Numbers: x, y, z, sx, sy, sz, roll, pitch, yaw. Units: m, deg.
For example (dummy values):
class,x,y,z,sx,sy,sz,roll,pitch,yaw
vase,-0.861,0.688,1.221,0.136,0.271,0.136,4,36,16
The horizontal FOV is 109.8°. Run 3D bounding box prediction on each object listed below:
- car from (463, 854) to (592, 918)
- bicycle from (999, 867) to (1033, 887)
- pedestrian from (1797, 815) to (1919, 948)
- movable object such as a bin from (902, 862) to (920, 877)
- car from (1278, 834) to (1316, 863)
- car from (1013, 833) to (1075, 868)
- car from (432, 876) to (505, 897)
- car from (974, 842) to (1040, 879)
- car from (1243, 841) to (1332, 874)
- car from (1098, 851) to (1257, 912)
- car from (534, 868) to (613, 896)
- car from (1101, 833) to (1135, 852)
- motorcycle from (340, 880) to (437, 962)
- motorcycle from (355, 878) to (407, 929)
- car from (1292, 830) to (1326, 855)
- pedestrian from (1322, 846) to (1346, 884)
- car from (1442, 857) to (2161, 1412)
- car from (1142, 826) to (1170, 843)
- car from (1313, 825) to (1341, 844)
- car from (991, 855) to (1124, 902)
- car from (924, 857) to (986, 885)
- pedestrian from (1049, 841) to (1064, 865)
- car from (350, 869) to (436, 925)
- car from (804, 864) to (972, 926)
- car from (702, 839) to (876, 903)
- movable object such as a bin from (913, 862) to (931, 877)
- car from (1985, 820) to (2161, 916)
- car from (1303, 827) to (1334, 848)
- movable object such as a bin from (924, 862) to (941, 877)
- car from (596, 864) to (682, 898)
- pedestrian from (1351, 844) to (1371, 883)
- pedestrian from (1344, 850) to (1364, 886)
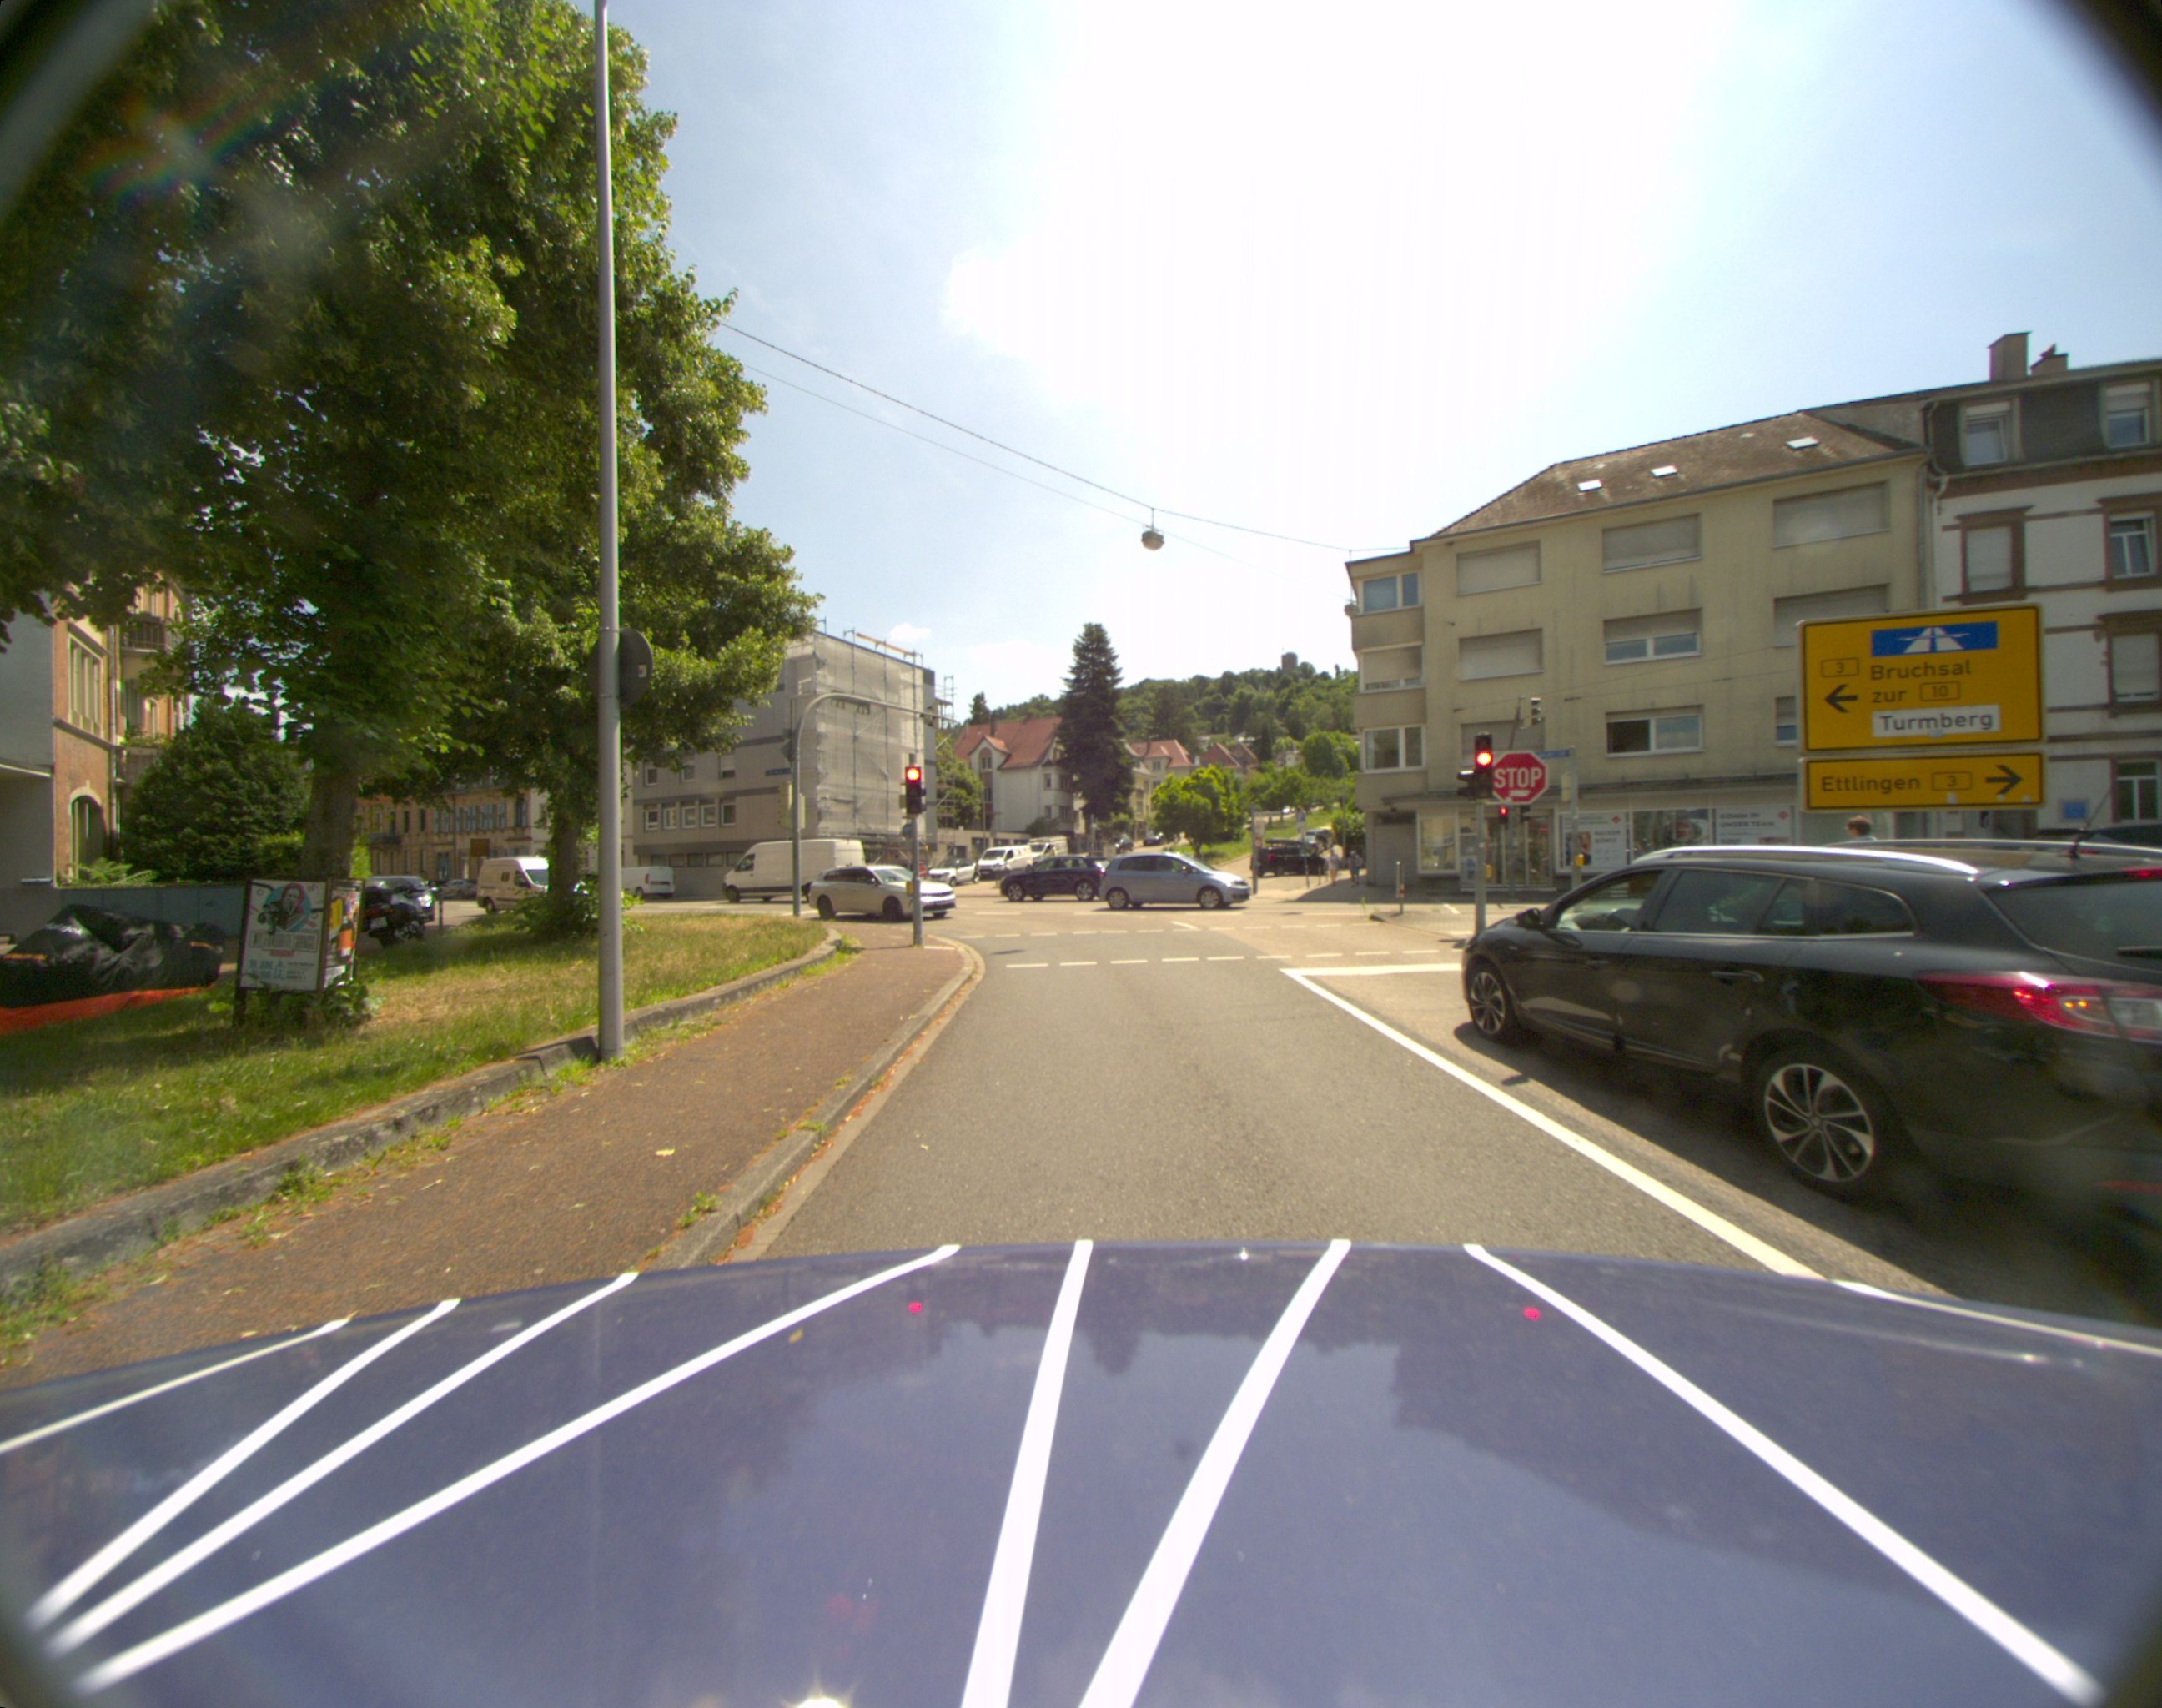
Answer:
class,x,y,z,sx,sy,sz,roll,pitch,yaw
car,-21.520,1.188,29.464,5.656,2.261,1.910,-1,0,31
bicycle,-3.235,1.137,37.804,1.714,0.961,0.399,-1,1,24
pedestrian,10.403,0.358,10.204,0.762,1.695,0.838,-1,1,1
movable object such as a bin,-10.891,1.010,48.710,0.824,0.921,0.742,-1,1,29
car,14.450,-0.420,50.625,1.805,1.607,4.004,-1,4,25
car,-2.614,-0.273,55.486,2.069,2.166,5.018,-1,3,29
car,-41.725,2.209,51.763,4.825,1.397,1.875,-1,-4,25
car,-4.730,0.362,49.306,1.995,2.003,5.017,-2,3,23
car,11.195,0.178,41.164,4.334,1.654,1.996,-1,0,-24
car,2.682,0.748,21.056,3.990,1.559,1.763,-1,0,24
car,-30.453,1.685,45.575,4.651,1.631,1.895,-1,-1,27
car,3.269,-1.020,66.616,1.754,1.440,3.743,-2,4,22
motorcycle,-12.816,1.182,14.148,0.920,1.305,2.219,-3,1,-33
motorcycle,-19.121,1.326,20.799,0.935,1.294,2.275,-1,-2,-40
car,16.616,-0.885,55.275,1.805,1.542,4.004,-1,4,25
pedestrian,11.018,0.454,33.046,0.820,1.623,0.805,-1,0,29
car,4.053,0.796,4.260,1.998,1.491,4.426,-1,0,1
car,7.494,-1.913,75.441,1.754,1.440,3.743,-2,4,22
car,21.197,-1.682,65.297,1.805,1.413,4.004,-1,4,25
car,-0.838,0.872,27.040,4.275,1.549,1.861,-1,1,25
car,-7.302,0.989,44.417,1.754,1.439,3.745,-2,1,24
pedestrian,-1.742,-0.057,54.332,0.741,1.704,0.713,-1,1,30
car,-21.547,1.333,23.869,1.844,1.539,5.143,0,-2,-42
car,-5.309,1.057,20.716,4.475,1.489,1.910,-1,0,33
car,-12.507,0.648,32.415,7.534,2.487,2.226,0,3,25
movable object such as a bin,-10.074,1.001,48.140,0.824,0.921,0.742,-1,1,29
car,19.516,0.212,13.556,3.991,1.622,1.762,-2,1,21
car,18.759,-1.321,59.855,1.805,1.380,4.004,-1,4,25
movable object such as a bin,-9.318,0.987,47.746,0.702,0.921,0.742,-1,1,29
car,-25.004,1.504,42.950,4.776,1.814,1.924,-1,-1,27
pedestrian,11.864,0.414,32.202,0.647,1.623,0.689,-1,1,29
pedestrian,11.116,0.572,30.937,0.647,1.467,0.689,-1,1,29
